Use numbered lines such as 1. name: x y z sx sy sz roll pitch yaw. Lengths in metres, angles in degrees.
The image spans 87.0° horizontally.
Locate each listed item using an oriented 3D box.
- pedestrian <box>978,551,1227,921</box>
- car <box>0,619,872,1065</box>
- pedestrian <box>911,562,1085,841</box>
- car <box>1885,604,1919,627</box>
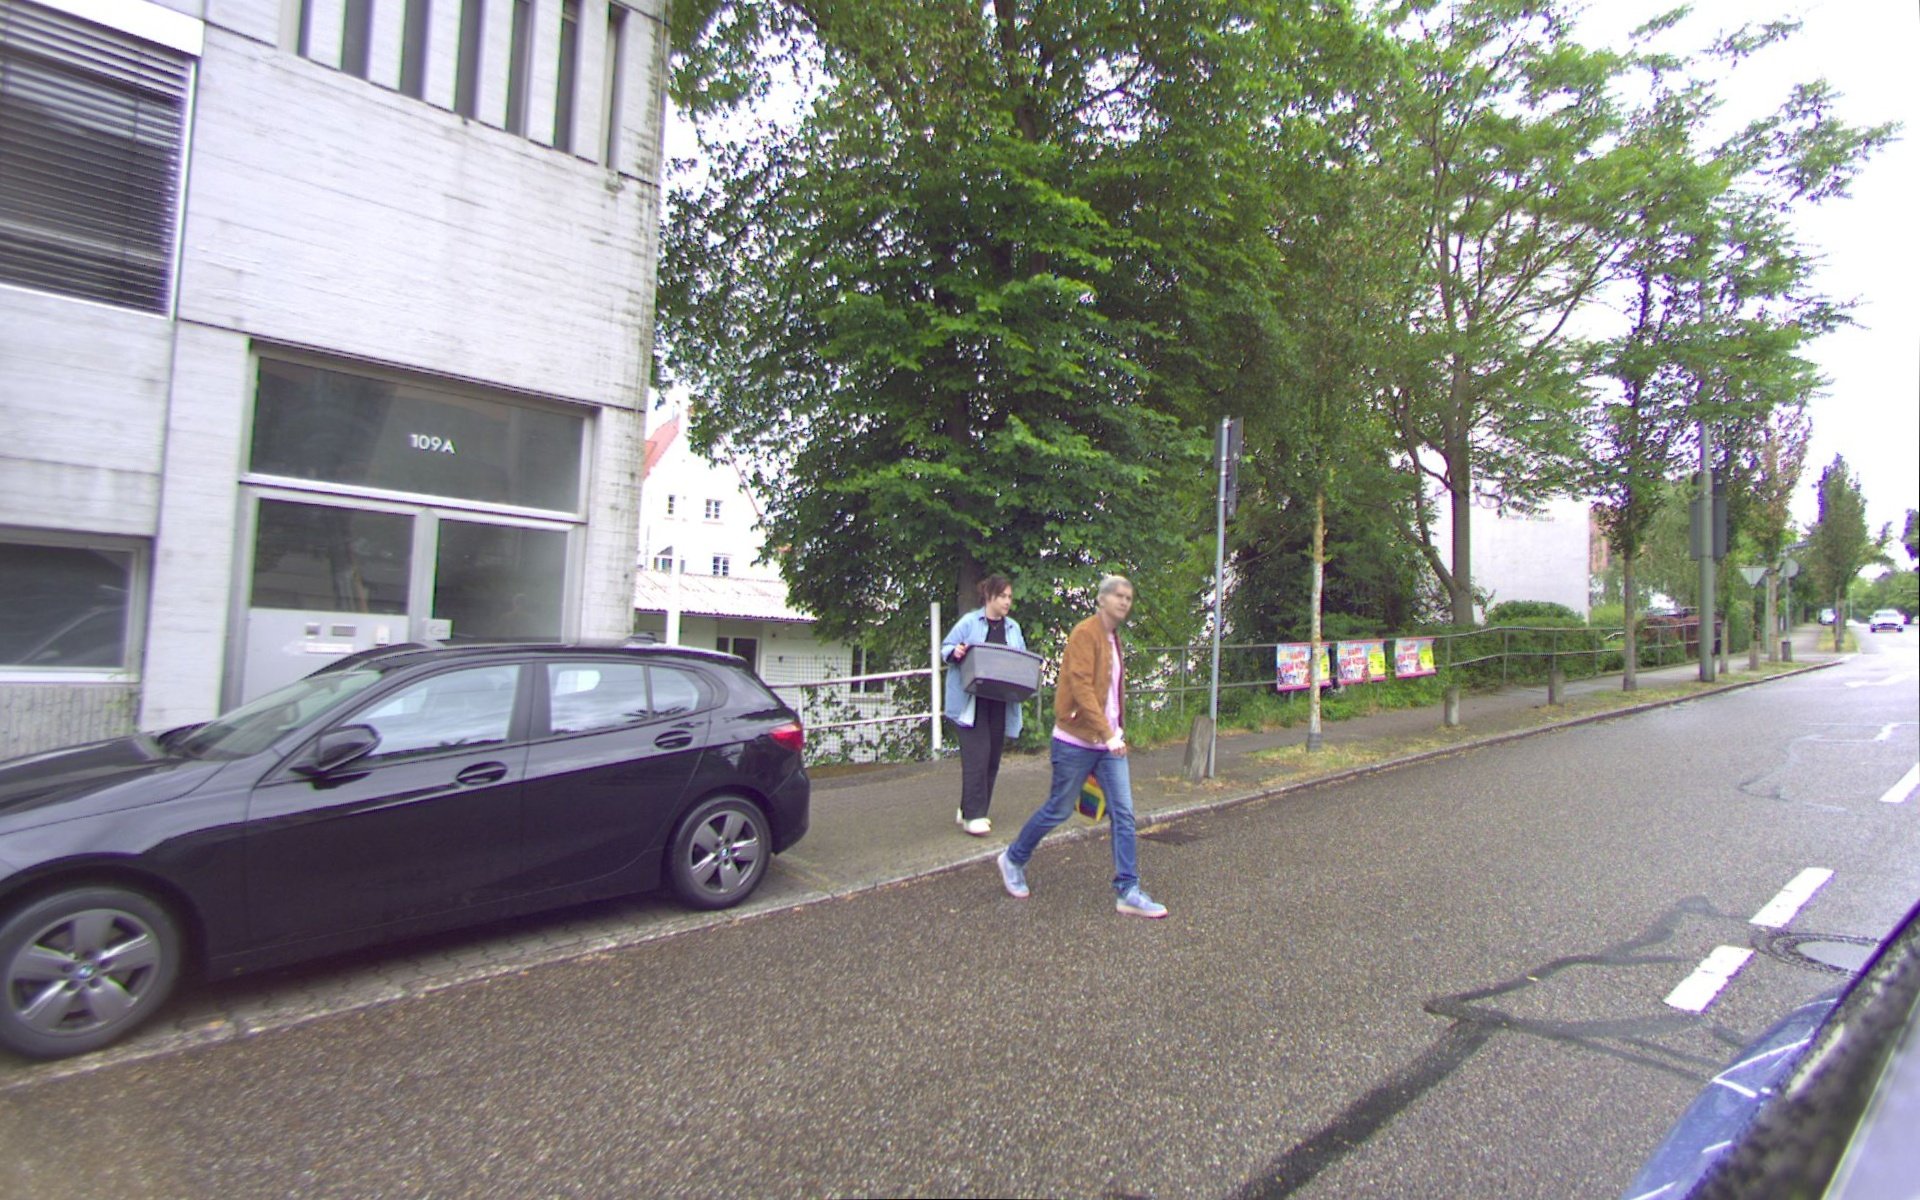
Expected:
1. pedestrian: 0.769 0.673 5.626 0.810 1.805 1.072 0 -2 -39
2. car: -2.792 0.866 5.288 4.368 1.453 1.995 0 -1 -43
3. pedestrian: 0.242 0.666 7.242 0.807 1.805 1.075 -1 -2 -24
4. car: 71.770 1.178 77.130 1.829 1.638 4.284 -1 0 43
